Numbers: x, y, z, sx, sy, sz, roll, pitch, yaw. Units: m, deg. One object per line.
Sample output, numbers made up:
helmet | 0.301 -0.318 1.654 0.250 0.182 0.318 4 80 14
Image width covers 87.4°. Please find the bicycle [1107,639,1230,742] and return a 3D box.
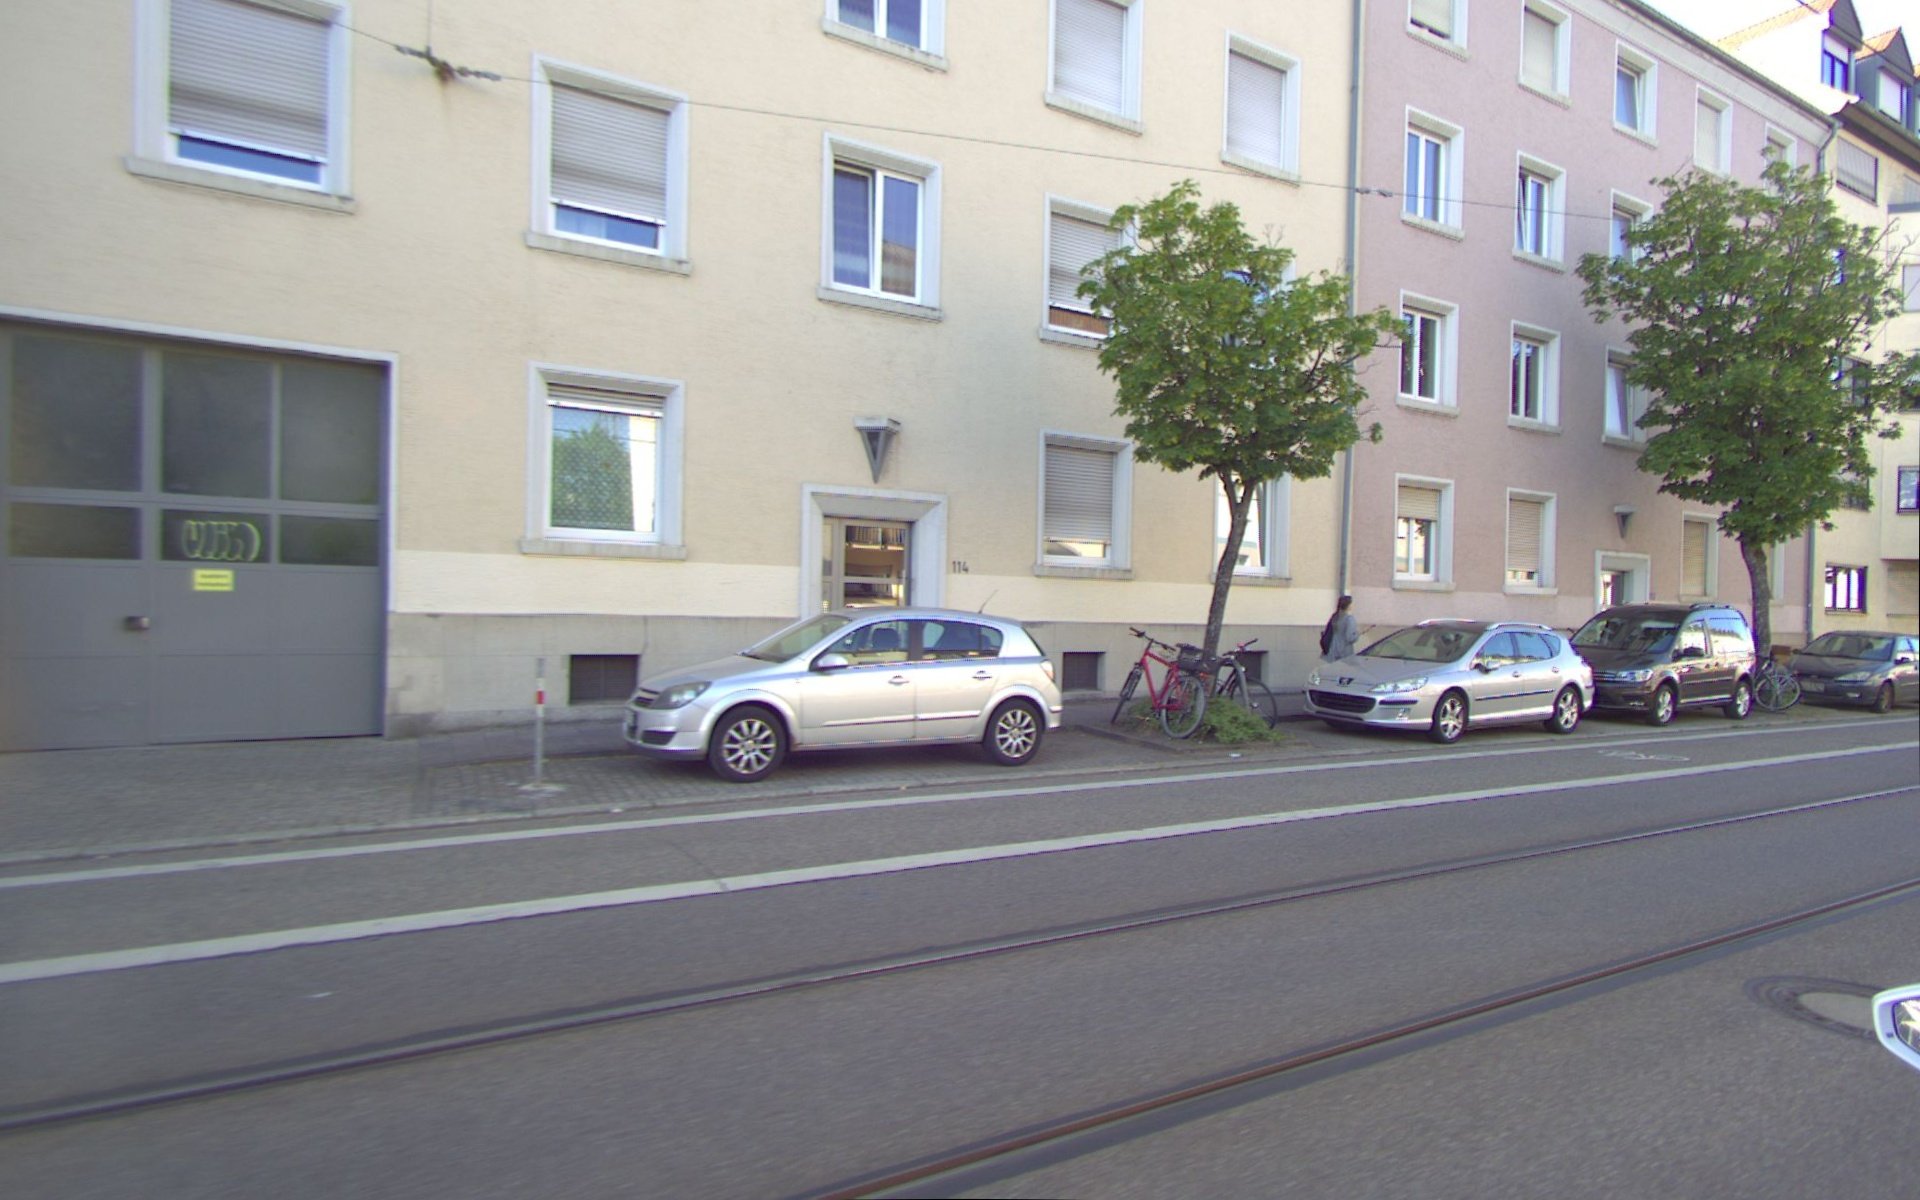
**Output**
bicycle | 2.400 1.015 11.741 0.470 1.015 1.661 1 1 -25

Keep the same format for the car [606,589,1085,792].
car | -1.036 0.733 9.545 4.141 1.528 1.800 1 1 -30

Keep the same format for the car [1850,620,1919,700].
car | 21.974 1.327 22.501 4.015 1.641 1.800 1 1 -30

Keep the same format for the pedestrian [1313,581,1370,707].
pedestrian | 5.761 0.646 15.171 0.536 1.850 0.534 1 1 -29

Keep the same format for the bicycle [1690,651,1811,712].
bicycle | 14.353 1.460 18.276 0.511 0.950 1.622 1 1 -32

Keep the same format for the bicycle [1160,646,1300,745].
bicycle | 3.260 1.126 12.262 0.472 1.015 1.652 1 1 -39

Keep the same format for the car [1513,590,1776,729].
car | 11.175 0.898 16.352 4.282 1.969 1.800 1 1 -30

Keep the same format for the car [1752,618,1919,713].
car | 17.737 1.233 19.911 4.015 1.641 1.800 1 1 -30

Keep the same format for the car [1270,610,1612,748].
car | 6.505 0.966 13.476 4.624 1.528 1.800 1 1 -30
